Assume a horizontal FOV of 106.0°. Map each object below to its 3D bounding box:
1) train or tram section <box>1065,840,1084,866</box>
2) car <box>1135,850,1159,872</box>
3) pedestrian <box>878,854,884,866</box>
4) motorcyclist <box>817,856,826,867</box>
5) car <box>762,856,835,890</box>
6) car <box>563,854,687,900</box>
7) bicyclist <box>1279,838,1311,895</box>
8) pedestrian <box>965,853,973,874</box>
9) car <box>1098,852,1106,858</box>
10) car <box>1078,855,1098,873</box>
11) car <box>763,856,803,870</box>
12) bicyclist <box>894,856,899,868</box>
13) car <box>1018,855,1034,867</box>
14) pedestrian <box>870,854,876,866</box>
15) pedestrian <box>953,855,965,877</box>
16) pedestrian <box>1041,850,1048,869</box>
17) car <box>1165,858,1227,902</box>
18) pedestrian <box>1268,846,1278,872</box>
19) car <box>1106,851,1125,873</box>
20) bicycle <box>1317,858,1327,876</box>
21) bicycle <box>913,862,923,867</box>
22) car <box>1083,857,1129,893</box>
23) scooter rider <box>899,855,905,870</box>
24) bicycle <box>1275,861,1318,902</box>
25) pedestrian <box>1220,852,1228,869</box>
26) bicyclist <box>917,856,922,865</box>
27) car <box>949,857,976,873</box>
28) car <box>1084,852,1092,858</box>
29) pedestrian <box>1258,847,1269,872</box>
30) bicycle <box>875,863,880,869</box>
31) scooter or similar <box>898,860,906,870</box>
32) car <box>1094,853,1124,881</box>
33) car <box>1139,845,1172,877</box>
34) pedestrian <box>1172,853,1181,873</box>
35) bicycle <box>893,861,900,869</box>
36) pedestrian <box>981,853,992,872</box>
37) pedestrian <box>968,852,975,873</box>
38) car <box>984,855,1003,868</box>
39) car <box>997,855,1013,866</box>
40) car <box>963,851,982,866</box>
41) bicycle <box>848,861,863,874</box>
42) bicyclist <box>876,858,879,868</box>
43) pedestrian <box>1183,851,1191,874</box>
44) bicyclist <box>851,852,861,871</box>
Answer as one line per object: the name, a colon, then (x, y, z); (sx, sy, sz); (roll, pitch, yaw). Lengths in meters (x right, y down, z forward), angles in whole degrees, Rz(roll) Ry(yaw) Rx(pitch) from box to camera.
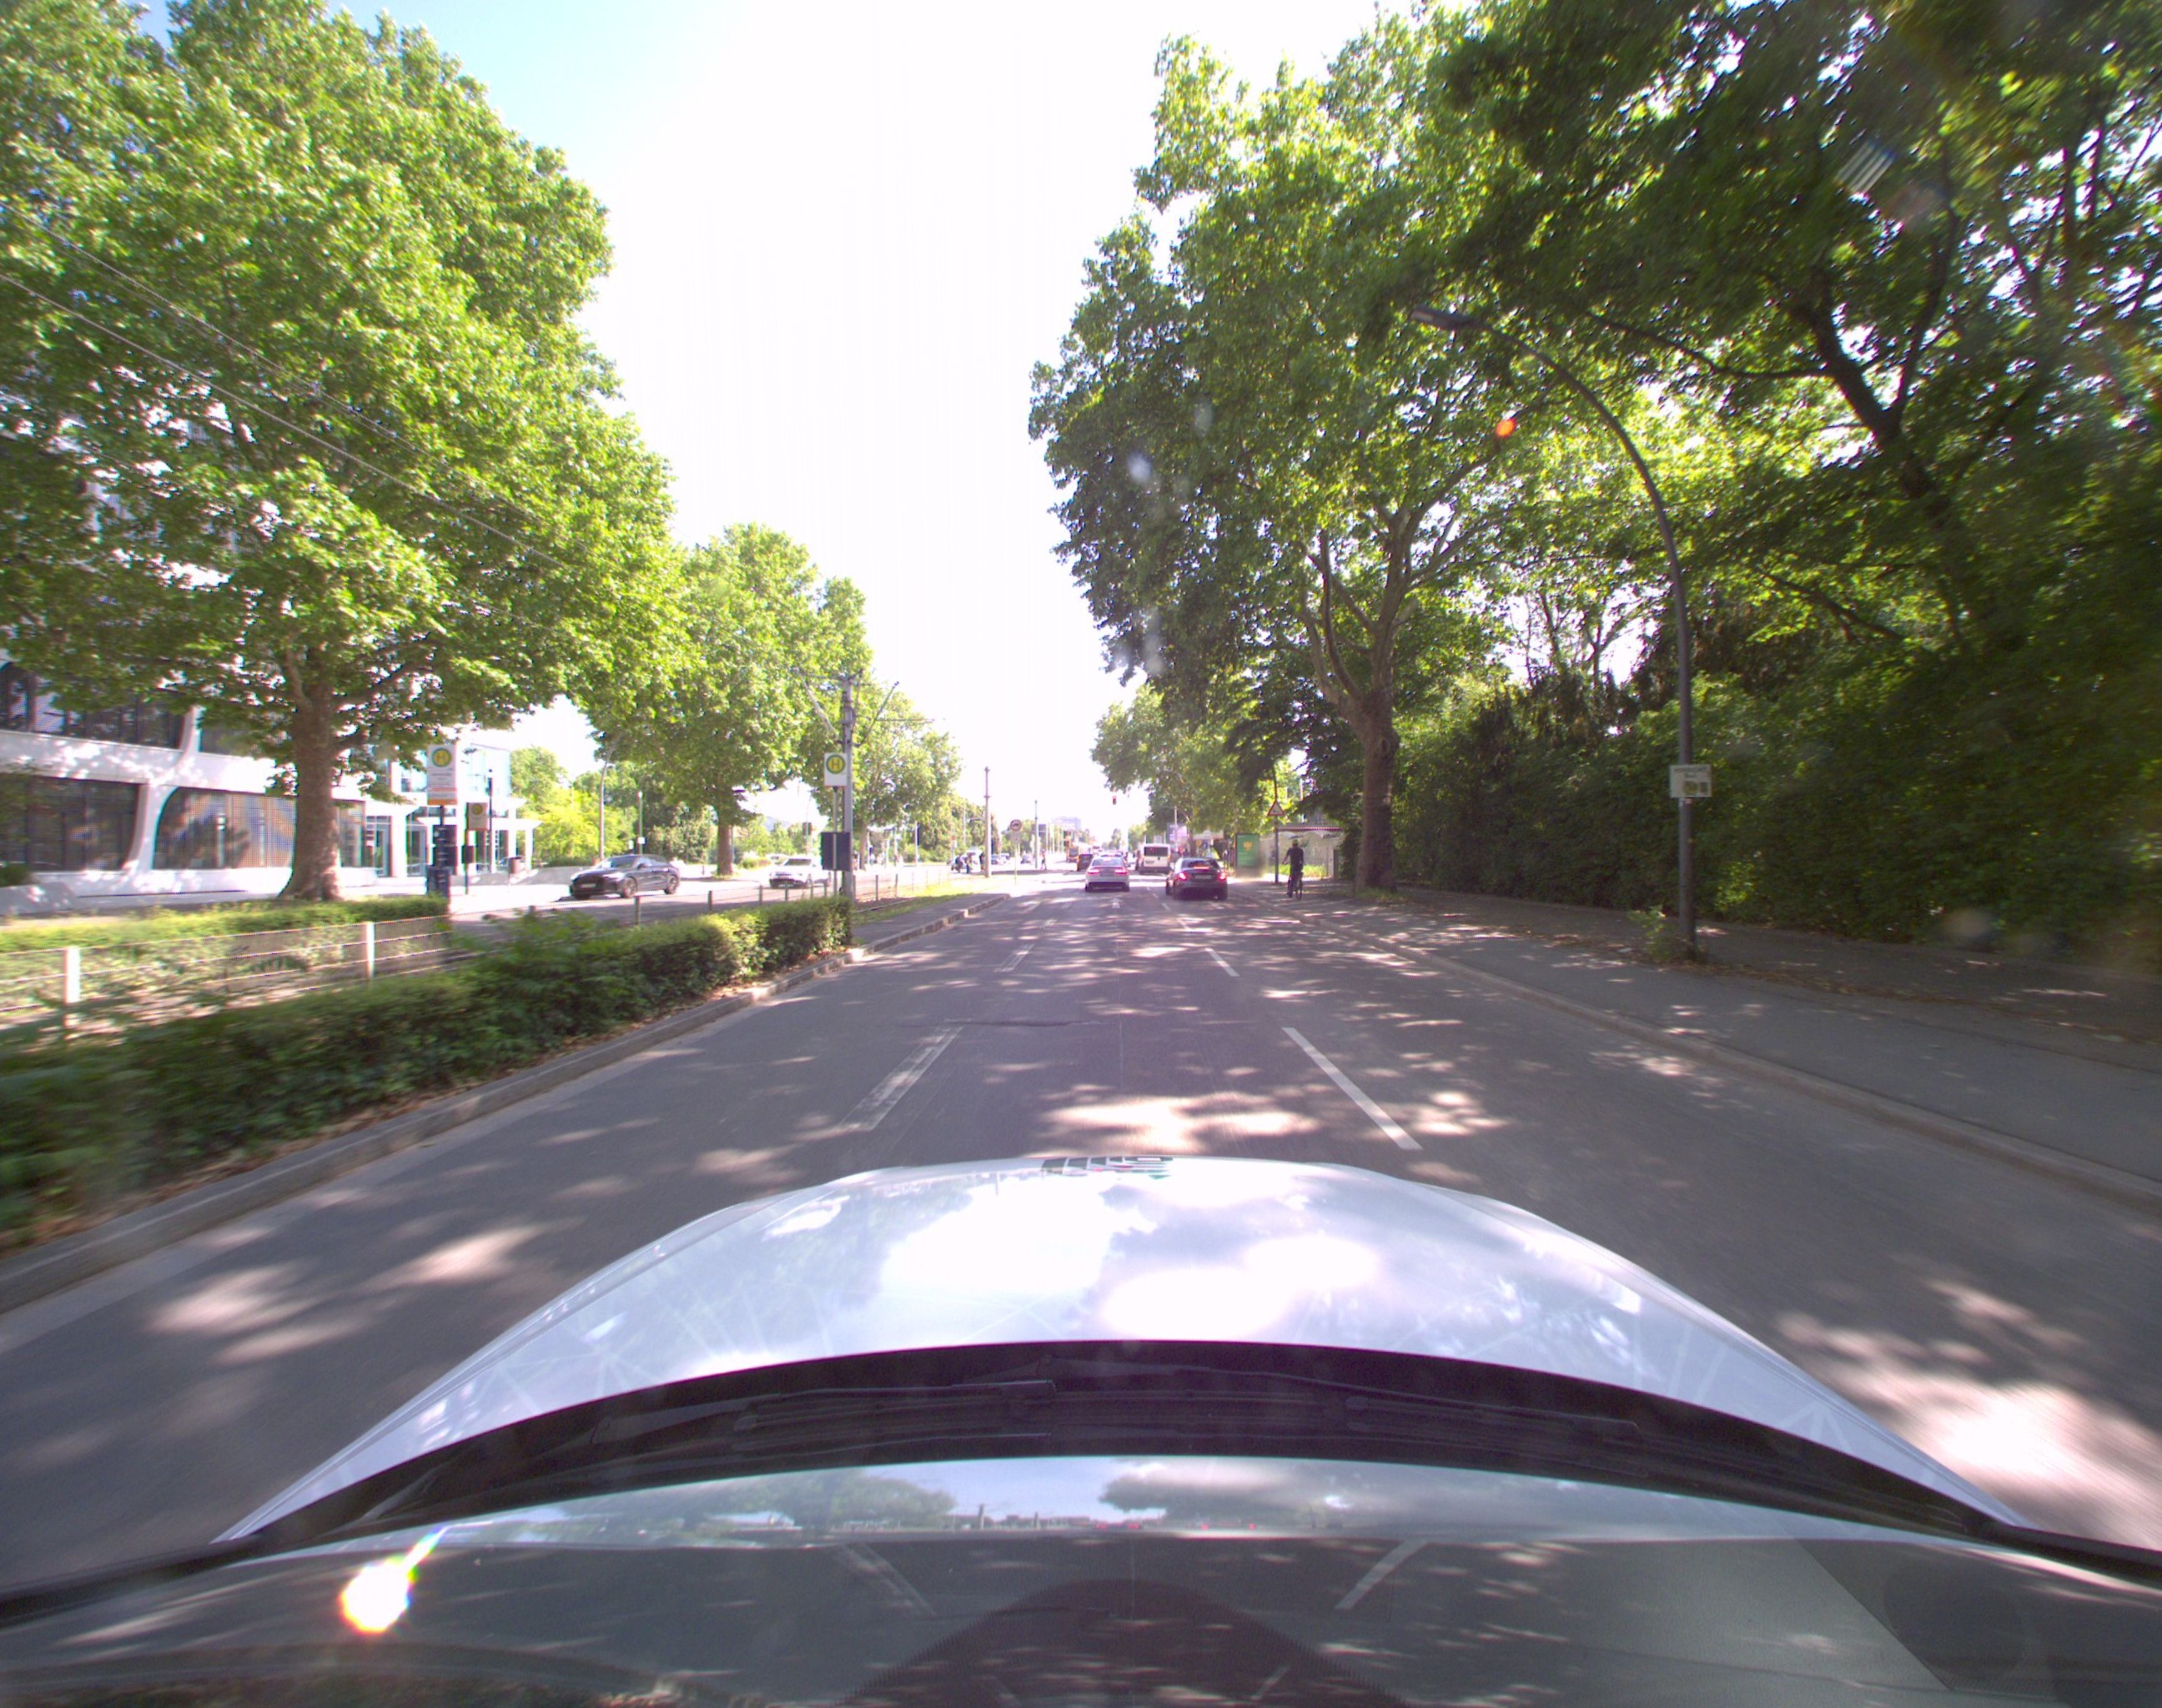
train or tram section: (-1.023, -0.149, 132.648); (2.606, 4.015, 7.755); (0, 0, 3)
car: (6.089, 0.640, 75.828); (2.064, 1.999, 4.061); (0, 0, 3)
pedestrian: (-25.500, 0.726, 103.836); (0.620, 1.542, 0.783); (0, 0, 1)
motorcyclist: (-30.408, 0.869, 95.433); (0.750, 1.314, 0.604); (0, 0, 2)
car: (-13.462, 0.876, 39.086); (1.803, 1.563, 4.307); (0, 0, 2)
car: (-17.345, 0.817, 31.297); (1.823, 1.624, 4.899); (0, 0, 2)
bicyclist: (6.400, 0.355, 24.382); (0.632, 1.648, 0.980); (-3, 0, 1)
pedestrian: (-9.001, 0.782, 65.471); (0.590, 1.646, 0.555); (0, 0, 3)
car: (5.669, 0.353, 219.591); (1.862, 1.609, 4.005); (0, 0, 5)
car: (0.659, 0.920, 74.906); (1.722, 1.631, 4.003); (0, 0, 3)
car: (-34.250, 1.039, 93.679); (3.832, 1.549, 1.771); (0, 0, 2)
bicyclist: (-22.363, 0.977, 98.729); (0.481, 1.416, 0.588); (0, 0, -24)
car: (-8.211, 1.022, 121.924); (1.985, 1.734, 4.003); (0, 0, 3)
pedestrian: (-26.531, 0.737, 103.811); (0.620, 1.542, 0.644); (0, 0, 1)
pedestrian: (-8.965, 0.900, 59.967); (0.760, 1.623, 0.590); (0, 0, -23)
pedestrian: (-3.719, 0.536, 82.130); (0.621, 1.918, 0.690); (0, 0, 3)
car: (3.927, 0.839, 28.403); (1.775, 1.420, 4.003); (0, 0, 3)
pedestrian: (14.372, 0.390, 61.047); (0.611, 1.896, 0.597); (-1, 0, -1)
car: (3.157, 0.710, 74.971); (1.722, 1.901, 4.003); (0, 0, 3)
bicycle: (16.448, 0.889, 55.550); (0.387, 1.180, 1.174); (0, 0, 3)
bicycle: (-23.617, 1.463, 118.192); (0.486, 0.731, 1.632); (0, 0, 31)
car: (1.073, 0.831, 33.861); (1.777, 1.420, 3.887); (0, 0, 3)
scooter rider: (-18.873, 0.887, 85.756); (0.504, 1.631, 0.566); (0, 0, 3)
bicycle: (6.433, 0.794, 24.384); (0.712, 1.148, 2.179); (-3, 0, 2)
pedestrian: (15.090, 0.723, 85.731); (0.772, 1.788, 0.766); (0, 0, 12)
bicyclist: (-23.501, 1.009, 118.387); (0.469, 1.292, 0.500); (0, -1, 31)
car: (-11.719, 1.086, 80.474); (1.789, 1.488, 4.388); (0, 0, 3)
car: (2.021, 0.357, 219.765); (1.862, 1.609, 4.005); (0, 0, 5)
pedestrian: (13.669, 0.403, 60.935); (0.611, 1.896, 0.694); (-1, 0, -1)
bicycle: (-24.965, 1.472, 99.878); (0.420, 0.748, 1.143); (0, 0, -7)
scooter or similar: (-18.874, 1.145, 85.745); (0.545, 1.113, 1.249); (0, 0, 3)
car: (1.742, 0.755, 49.582); (1.722, 1.605, 3.887); (0, 0, 3)
car: (5.333, 0.488, 58.999); (2.221, 2.212, 4.164); (0, 0, 2)
pedestrian: (8.436, 0.771, 71.900); (0.600, 1.694, 0.954); (-2, 0, 3)
bicycle: (-22.362, 1.328, 98.732); (0.486, 0.961, 1.642); (0, 0, -23)
pedestrian: (-8.393, 0.757, 72.254); (0.769, 1.734, 0.756); (0, 0, 11)
pedestrian: (-8.923, 0.714, 66.245); (0.490, 1.679, 0.644); (0, 0, 3)
car: (-11.380, 0.983, 106.439); (1.863, 1.609, 4.003); (0, 0, 3)
car: (-11.120, 0.972, 119.451); (1.756, 1.609, 3.863); (0, 0, 3)
car: (-16.824, 0.675, 126.624); (2.105, 2.383, 4.003); (0, 0, 3)
bicycle: (-19.088, 1.149, 68.976); (0.664, 1.094, 1.885); (0, 0, 3)
bicyclist: (-24.968, 1.093, 99.890); (0.385, 1.311, 0.464); (0, 0, -8)
pedestrian: (9.105, 0.708, 70.181); (0.633, 1.946, 0.719); (0, 0, 3)
bicyclist: (-19.089, 0.661, 69.006); (0.572, 1.604, 0.839); (0, 0, 3)
